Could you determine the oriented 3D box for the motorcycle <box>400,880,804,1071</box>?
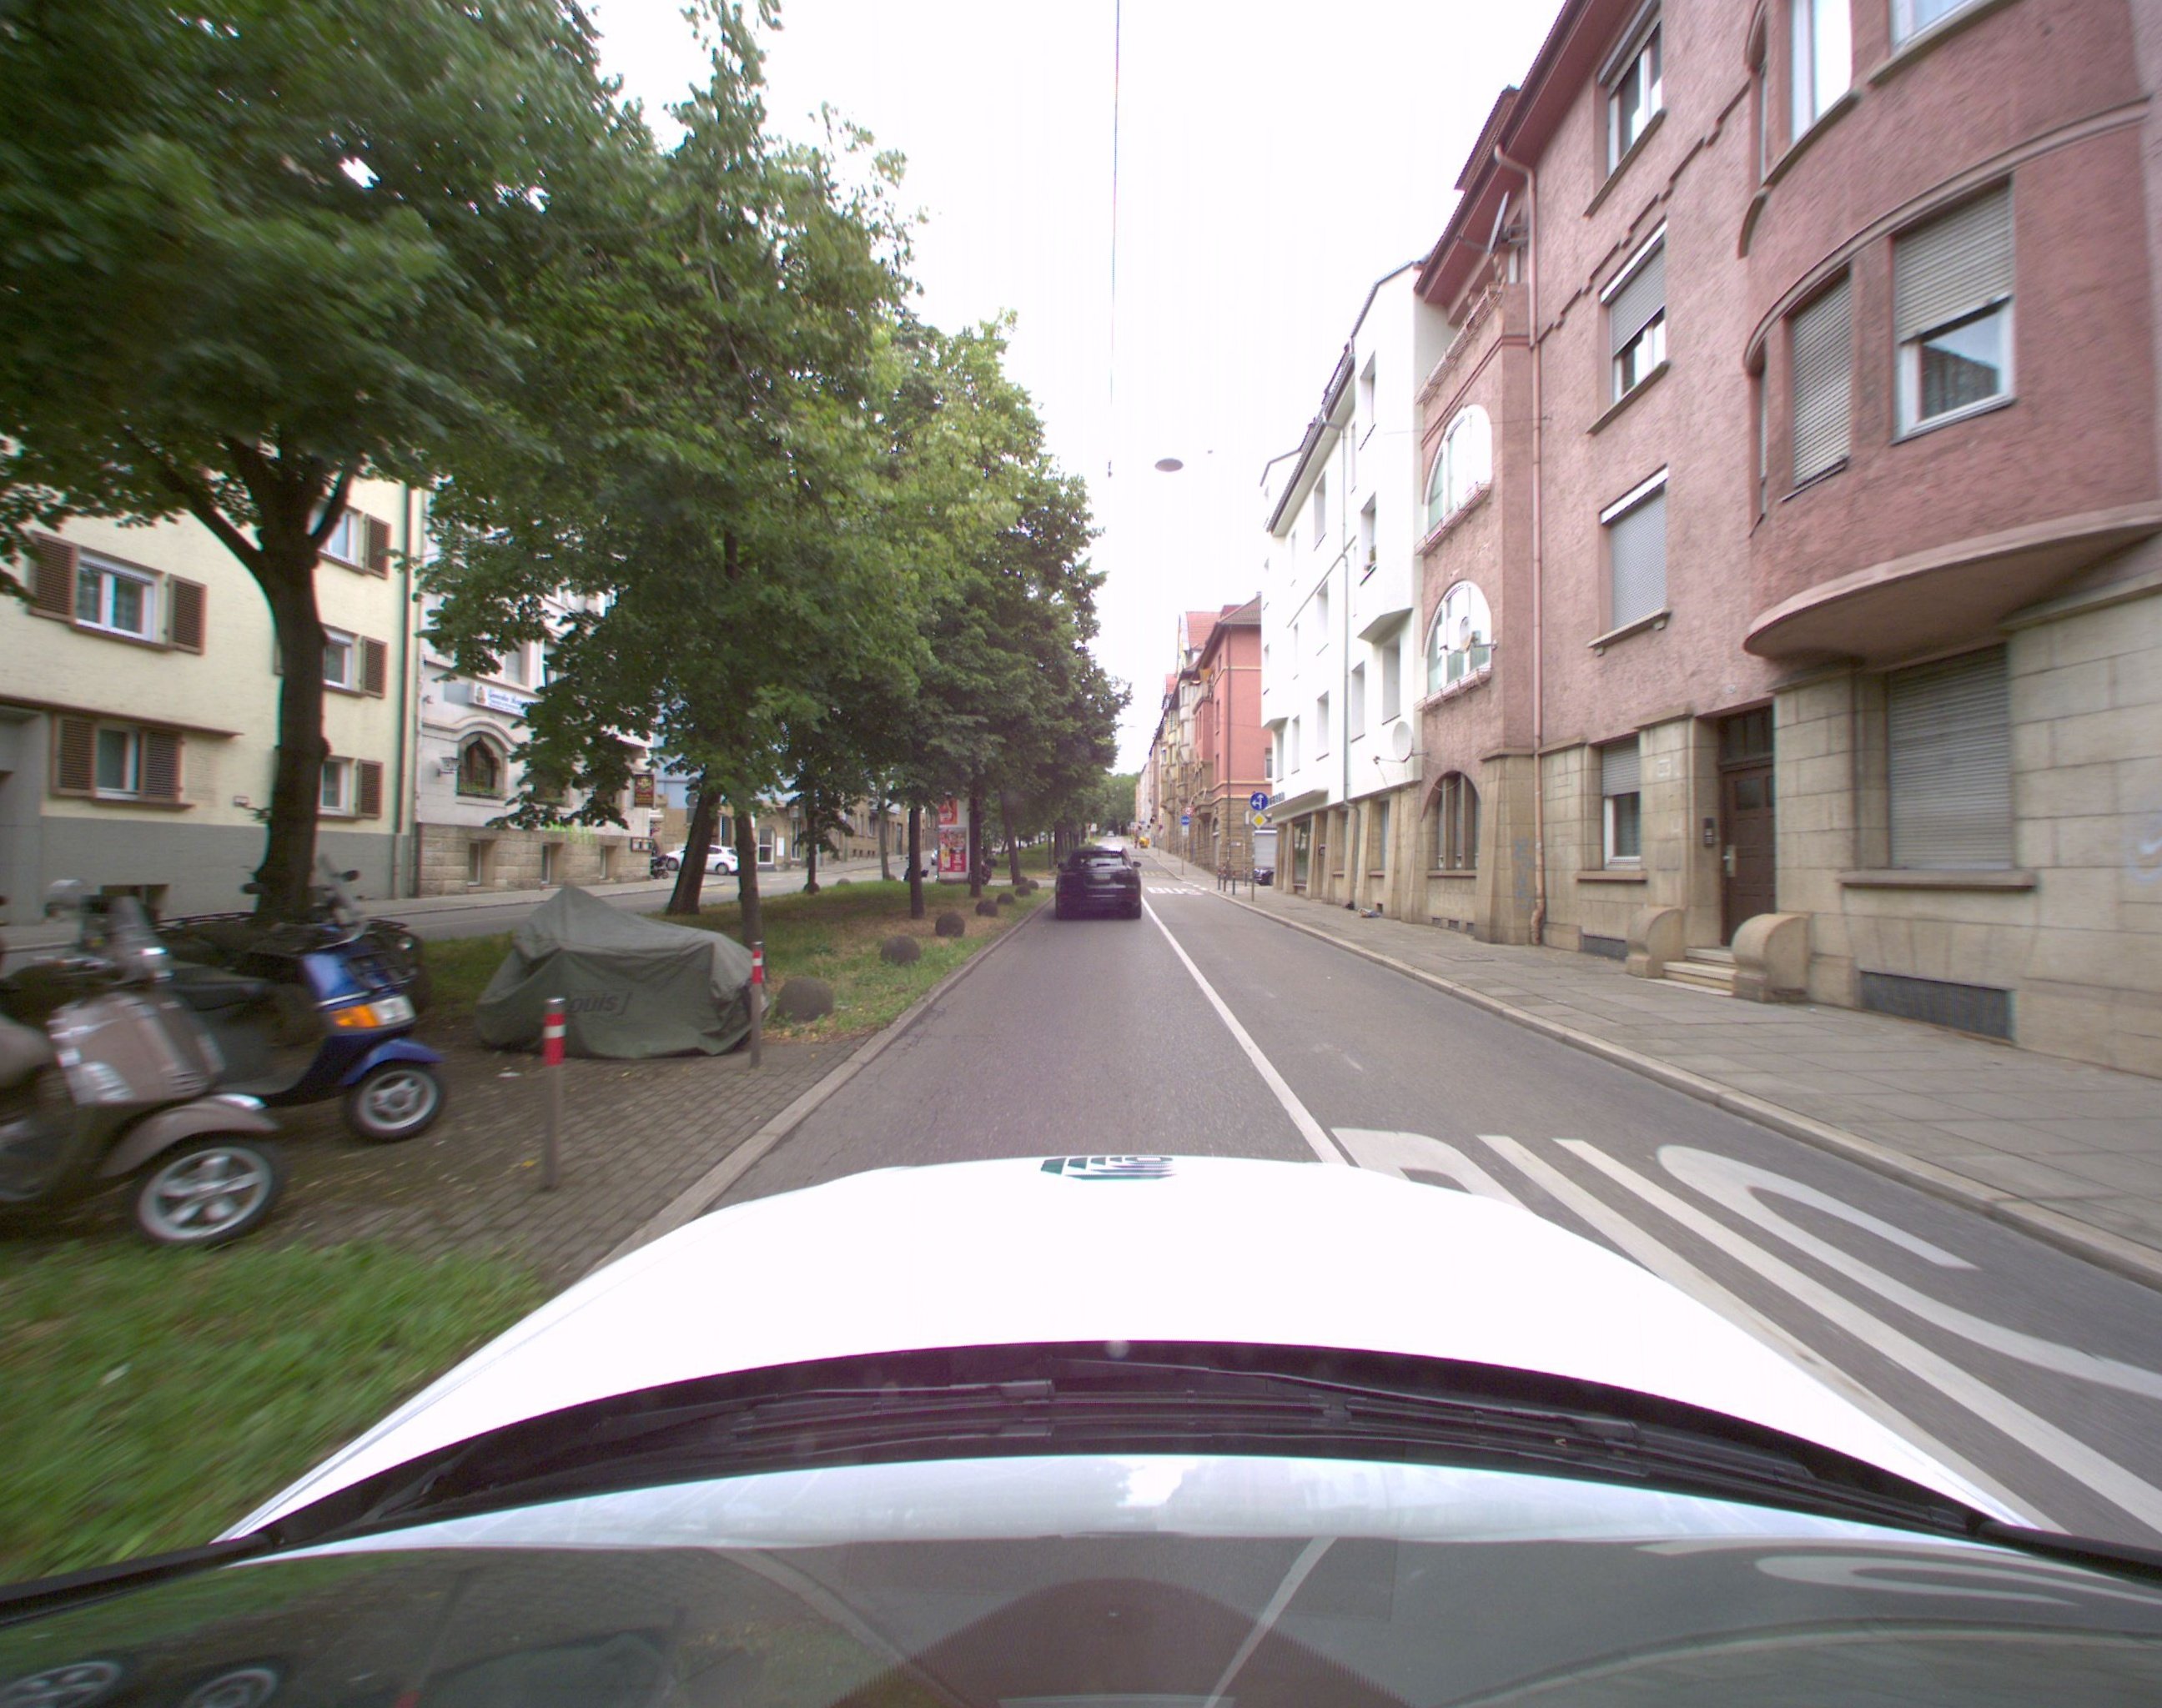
[{"bbox_3d":[-3.416,0.837,6.029,2.348,1.235,1.033,0,0,0],"label":"motorcycle"}]

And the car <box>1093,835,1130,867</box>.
[{"bbox_3d":[1.727,-0.181,46.250,1.986,1.753,4.002,0,0,2],"label":"car"}]

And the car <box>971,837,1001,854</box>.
[{"bbox_3d":[-8.562,-0.800,73.862,1.986,1.483,4.534,0,1,2],"label":"car"}]

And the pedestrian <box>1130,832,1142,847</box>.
[{"bbox_3d":[7.347,-1.886,109.000,1.308,2.013,1.011,0,0,-28],"label":"pedestrian"}]

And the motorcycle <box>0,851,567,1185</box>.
[{"bbox_3d":[-3.951,0.722,4.090,2.184,1.438,0.875,1,0,4],"label":"motorcycle"}]

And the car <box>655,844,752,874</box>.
[{"bbox_3d":[-19.151,0.226,41.482,3.972,1.497,2.001,0,0,1],"label":"car"}]

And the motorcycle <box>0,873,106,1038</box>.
[{"bbox_3d":[-9.113,0.777,6.463,2.102,1.235,0.516,0,0,0],"label":"motorcycle"}]

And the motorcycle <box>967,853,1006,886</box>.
[{"bbox_3d":[-3.518,0.557,30.461,1.058,1.148,2.449,0,0,2],"label":"motorcycle"}]

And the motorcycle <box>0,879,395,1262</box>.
[{"bbox_3d":[-4.083,0.748,3.226,1.918,1.297,0.893,0,-2,0],"label":"motorcycle"}]

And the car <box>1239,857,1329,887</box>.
[{"bbox_3d":[10.100,0.878,40.609,4.005,1.376,1.984,0,0,-24],"label":"car"}]

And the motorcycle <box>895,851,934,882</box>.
[{"bbox_3d":[-6.184,0.487,30.398,0.897,1.107,2.252,0,-1,2],"label":"motorcycle"}]

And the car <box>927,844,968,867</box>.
[{"bbox_3d":[-9.612,0.077,58.965,1.986,1.624,4.818,0,1,2],"label":"car"}]

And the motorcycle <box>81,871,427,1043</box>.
[{"bbox_3d":[-6.626,0.773,6.593,2.018,1.235,0.898,0,0,6],"label":"motorcycle"}]

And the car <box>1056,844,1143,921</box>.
[{"bbox_3d":[0.430,0.612,19.923,1.897,1.666,4.135,0,0,0],"label":"car"}]

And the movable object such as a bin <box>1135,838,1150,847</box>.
[{"bbox_3d":[8.092,-1.509,107.694,1.244,1.274,1.830,0,0,-27],"label":"movable object such as a bin"}]

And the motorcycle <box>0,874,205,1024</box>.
[{"bbox_3d":[-9.052,0.804,7.120,2.123,1.235,0.623,-1,-1,1],"label":"motorcycle"}]

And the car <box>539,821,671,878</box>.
[{"bbox_3d":[-21.551,-0.224,36.971,4.776,2.052,2.004,6,2,6],"label":"car"}]

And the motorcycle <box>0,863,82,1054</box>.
[{"bbox_3d":[-8.451,0.740,5.849,1.756,1.339,0.624,0,-1,0],"label":"motorcycle"}]
